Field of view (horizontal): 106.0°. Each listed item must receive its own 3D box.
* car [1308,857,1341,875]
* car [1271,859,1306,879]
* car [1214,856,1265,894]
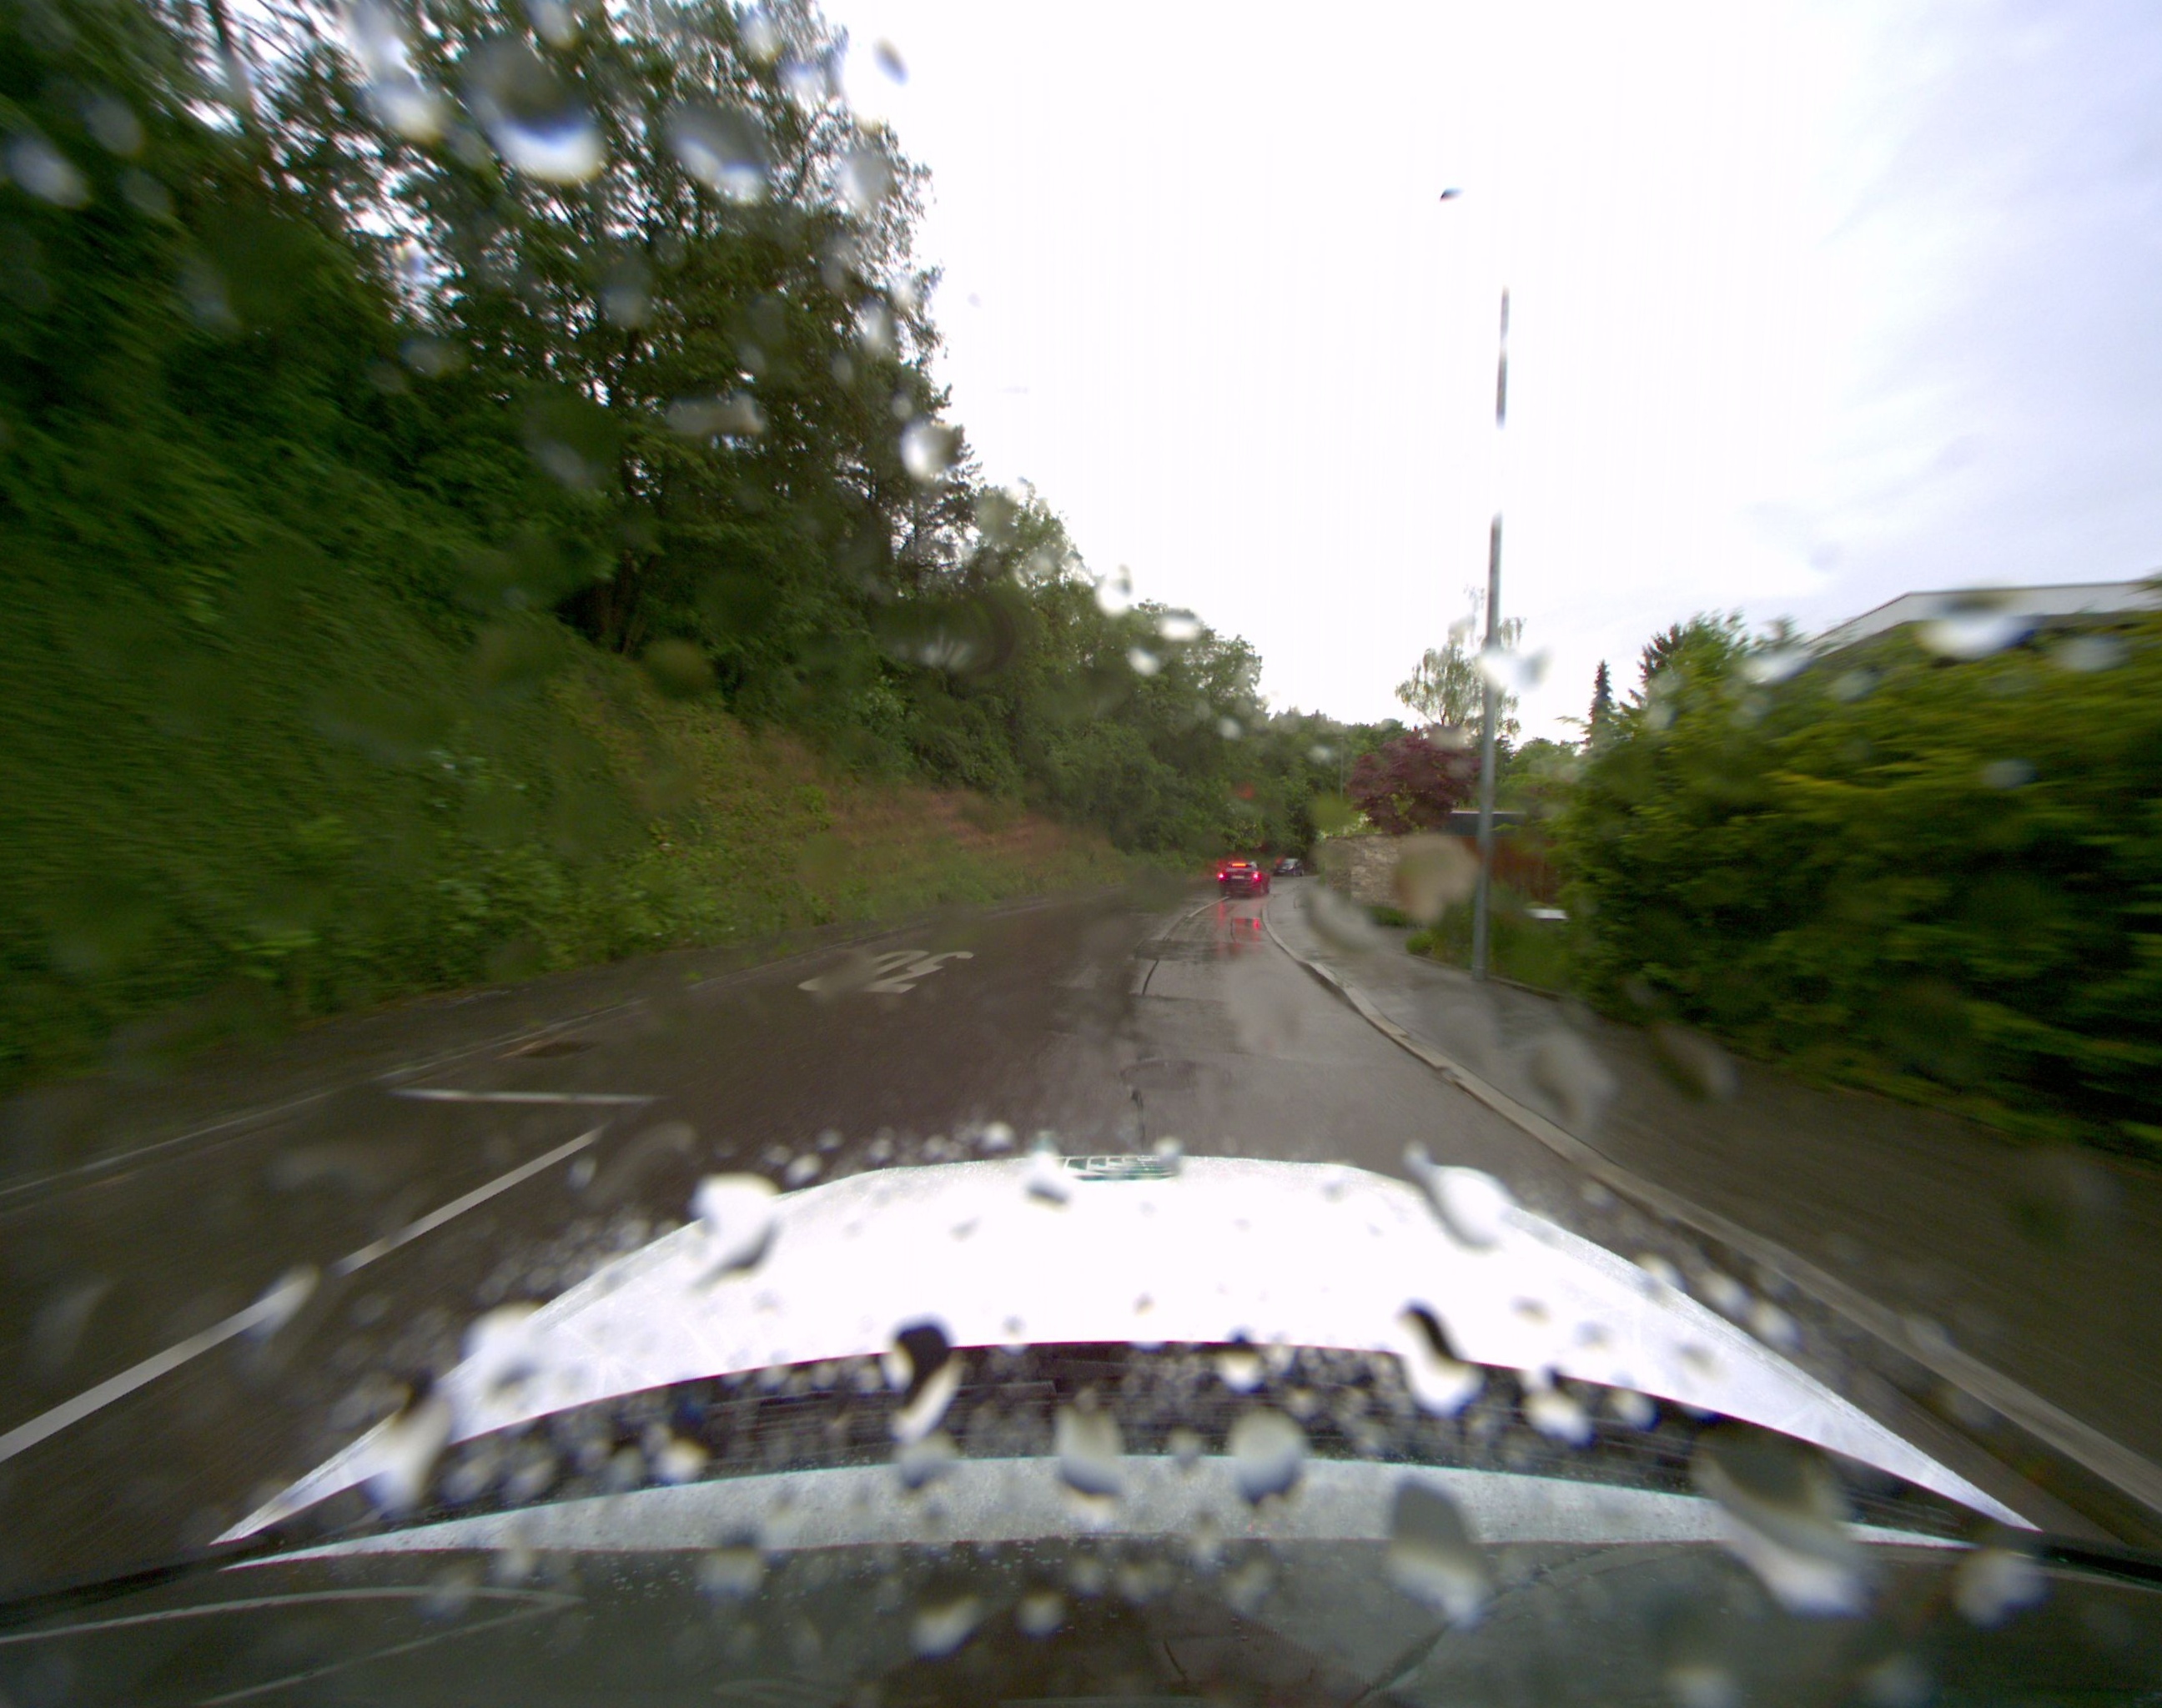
[{"bbox_3d":[23.443,1.154,78.405,1.975,1.640,4.025,2,0,32],"label":"car"},{"bbox_3d":[16.723,1.152,65.502,1.684,1.471,4.024,2,1,29],"label":"car"},{"bbox_3d":[6.905,0.863,35.173,1.854,1.512,4.109,1,0,15],"label":"car"}]
